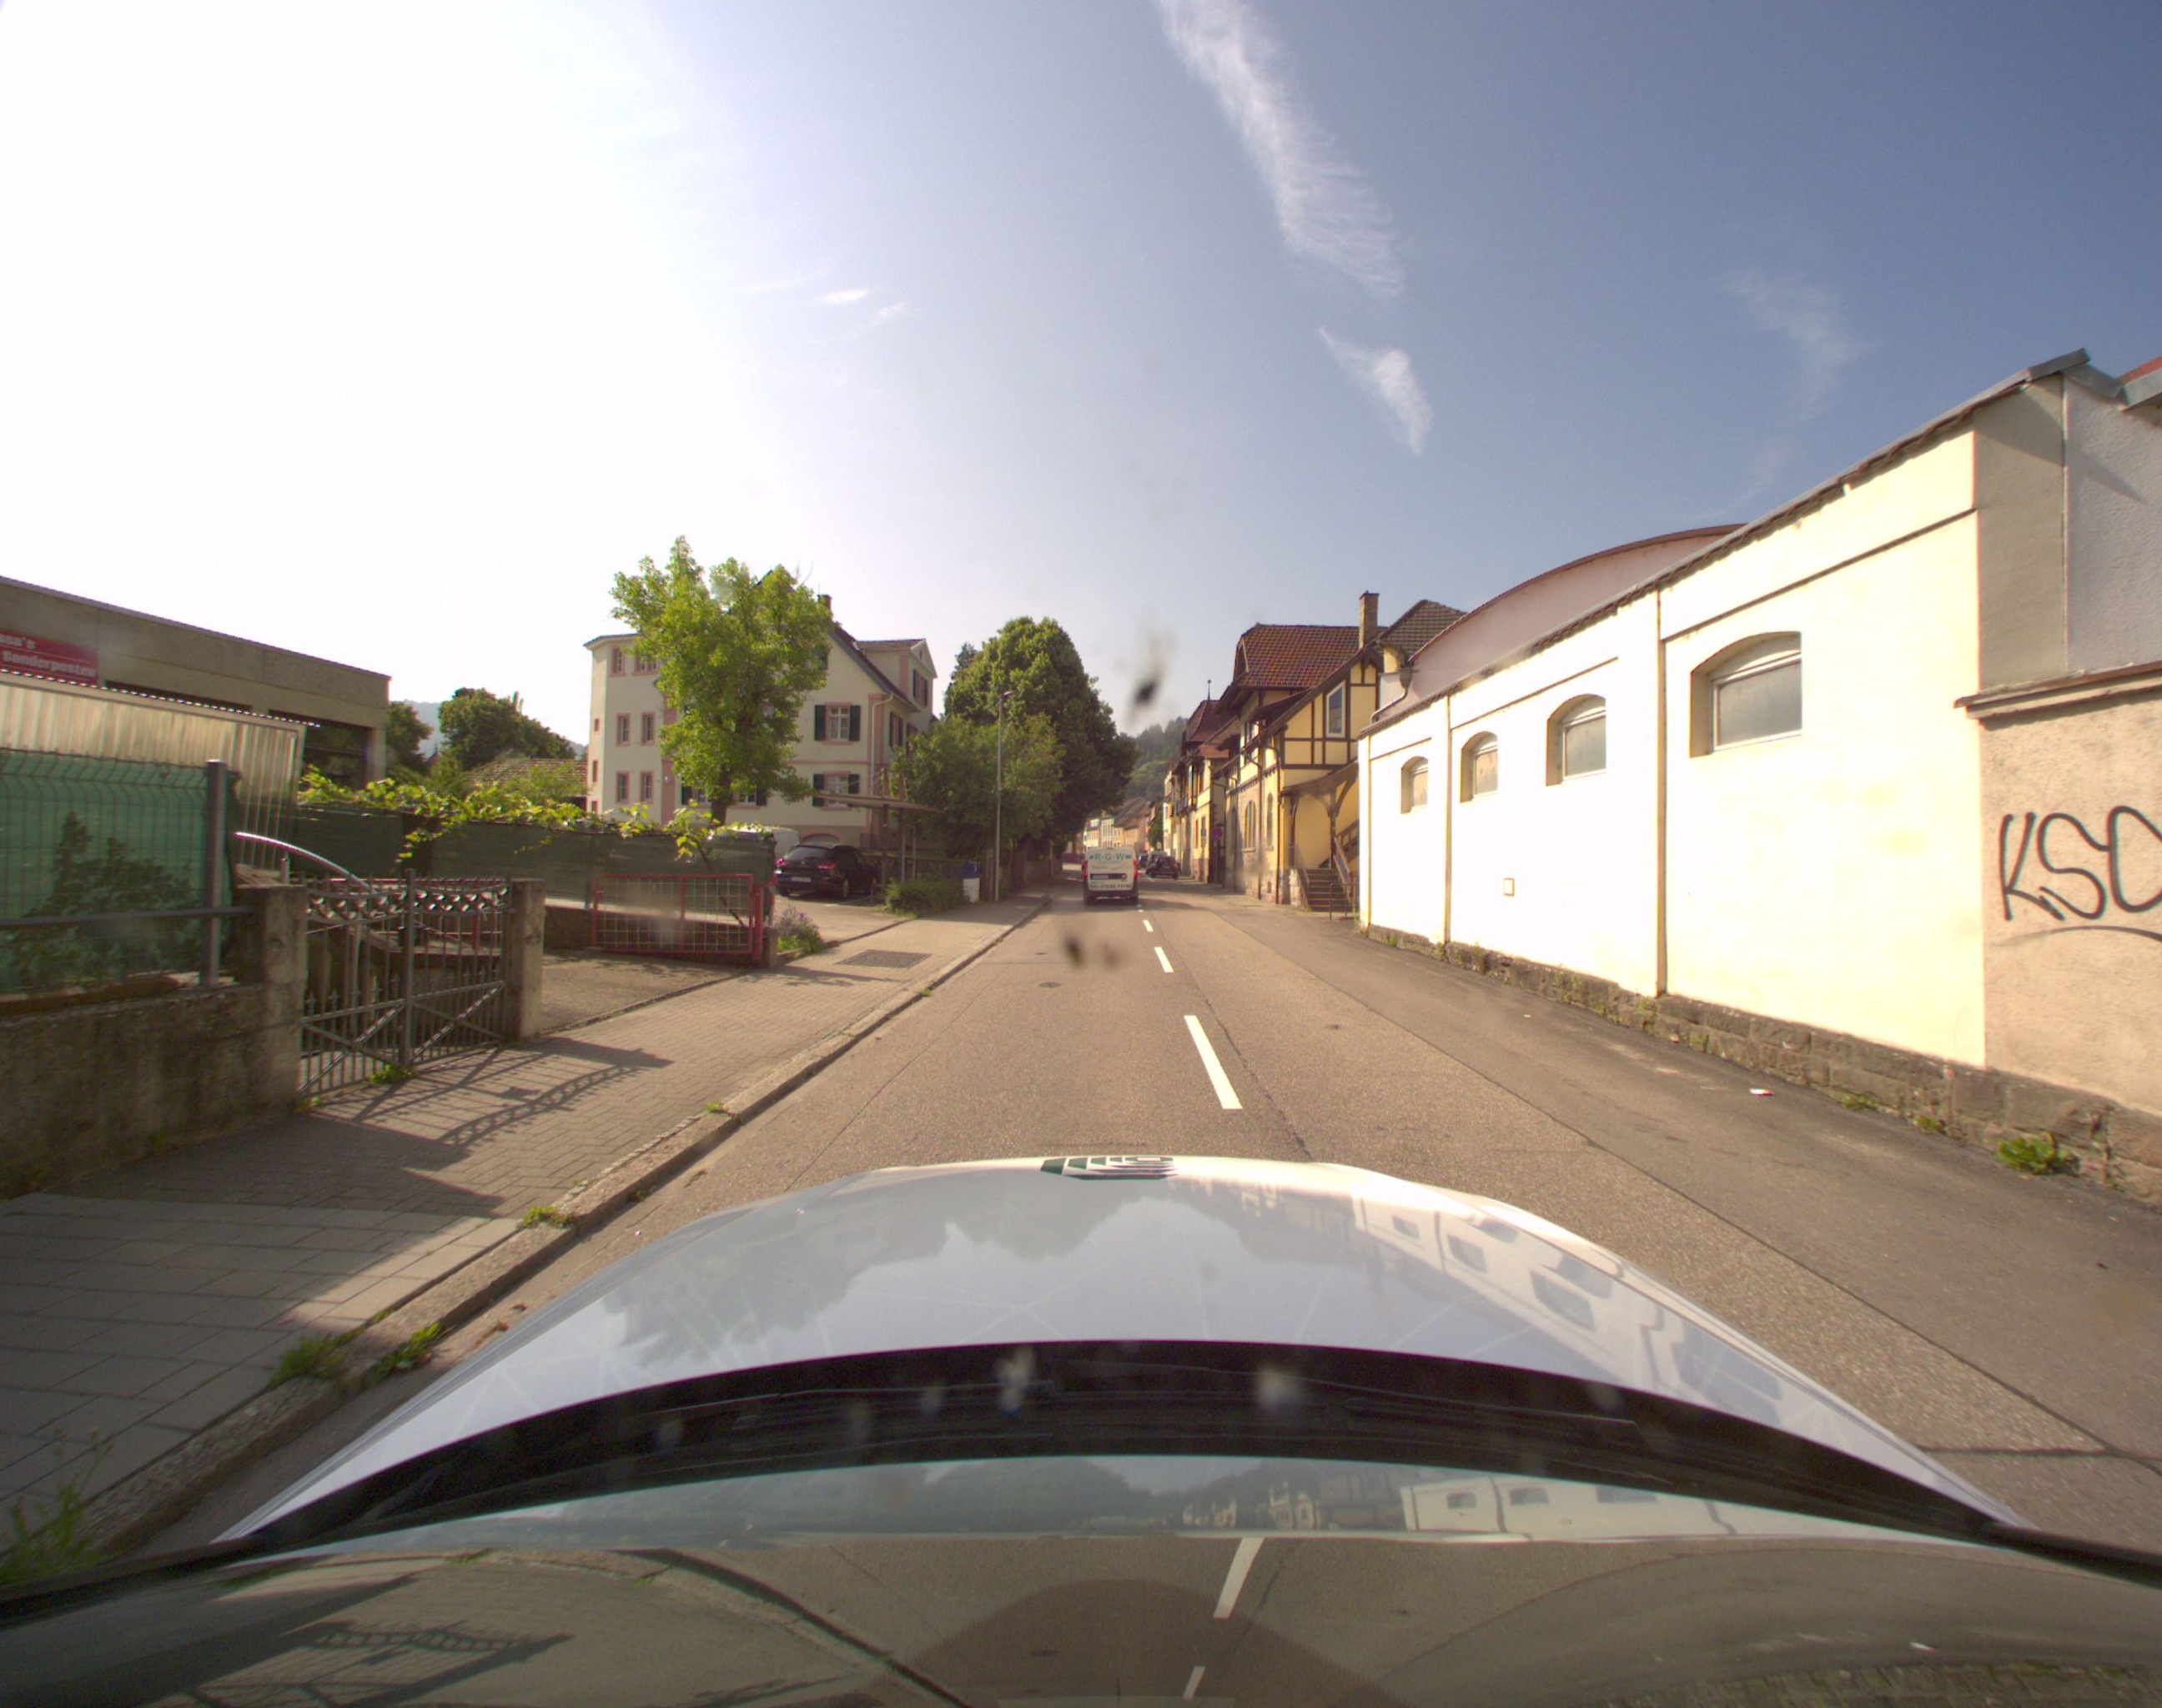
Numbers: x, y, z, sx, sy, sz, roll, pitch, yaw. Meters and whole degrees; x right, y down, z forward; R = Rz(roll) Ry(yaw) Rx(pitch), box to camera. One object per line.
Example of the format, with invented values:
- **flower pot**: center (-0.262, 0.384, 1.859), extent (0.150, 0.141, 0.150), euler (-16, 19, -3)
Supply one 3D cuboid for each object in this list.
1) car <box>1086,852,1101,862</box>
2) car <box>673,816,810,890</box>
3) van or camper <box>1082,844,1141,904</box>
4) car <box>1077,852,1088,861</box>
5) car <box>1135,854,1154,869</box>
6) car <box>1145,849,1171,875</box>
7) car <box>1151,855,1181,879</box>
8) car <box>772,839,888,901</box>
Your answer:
- **car**: center (2.396, 0.614, 157.059), extent (1.994, 1.782, 3.986), euler (3, 0, -10)
- **car**: center (-9.572, -0.022, 23.439), extent (1.817, 1.772, 4.682), euler (4, 0, 1)
- **van or camper**: center (1.001, 0.637, 27.284), extent (1.821, 1.844, 4.189), euler (0, 0, 1)
- **car**: center (0.349, 0.570, 184.126), extent (1.771, 1.799, 3.987), euler (1, 0, -9)
- **car**: center (6.576, 0.780, 84.480), extent (1.664, 1.508, 4.000), euler (0, 0, 0)
- **car**: center (6.415, 0.643, 68.123), extent (1.864, 2.014, 4.002), euler (2, 0, 2)
- **car**: center (6.021, 0.902, 57.978), extent (1.803, 1.596, 3.929), euler (3, 0, 3)
- **car**: center (-6.776, 0.389, 22.466), extent (1.609, 1.462, 4.396), euler (3, 0, 2)
